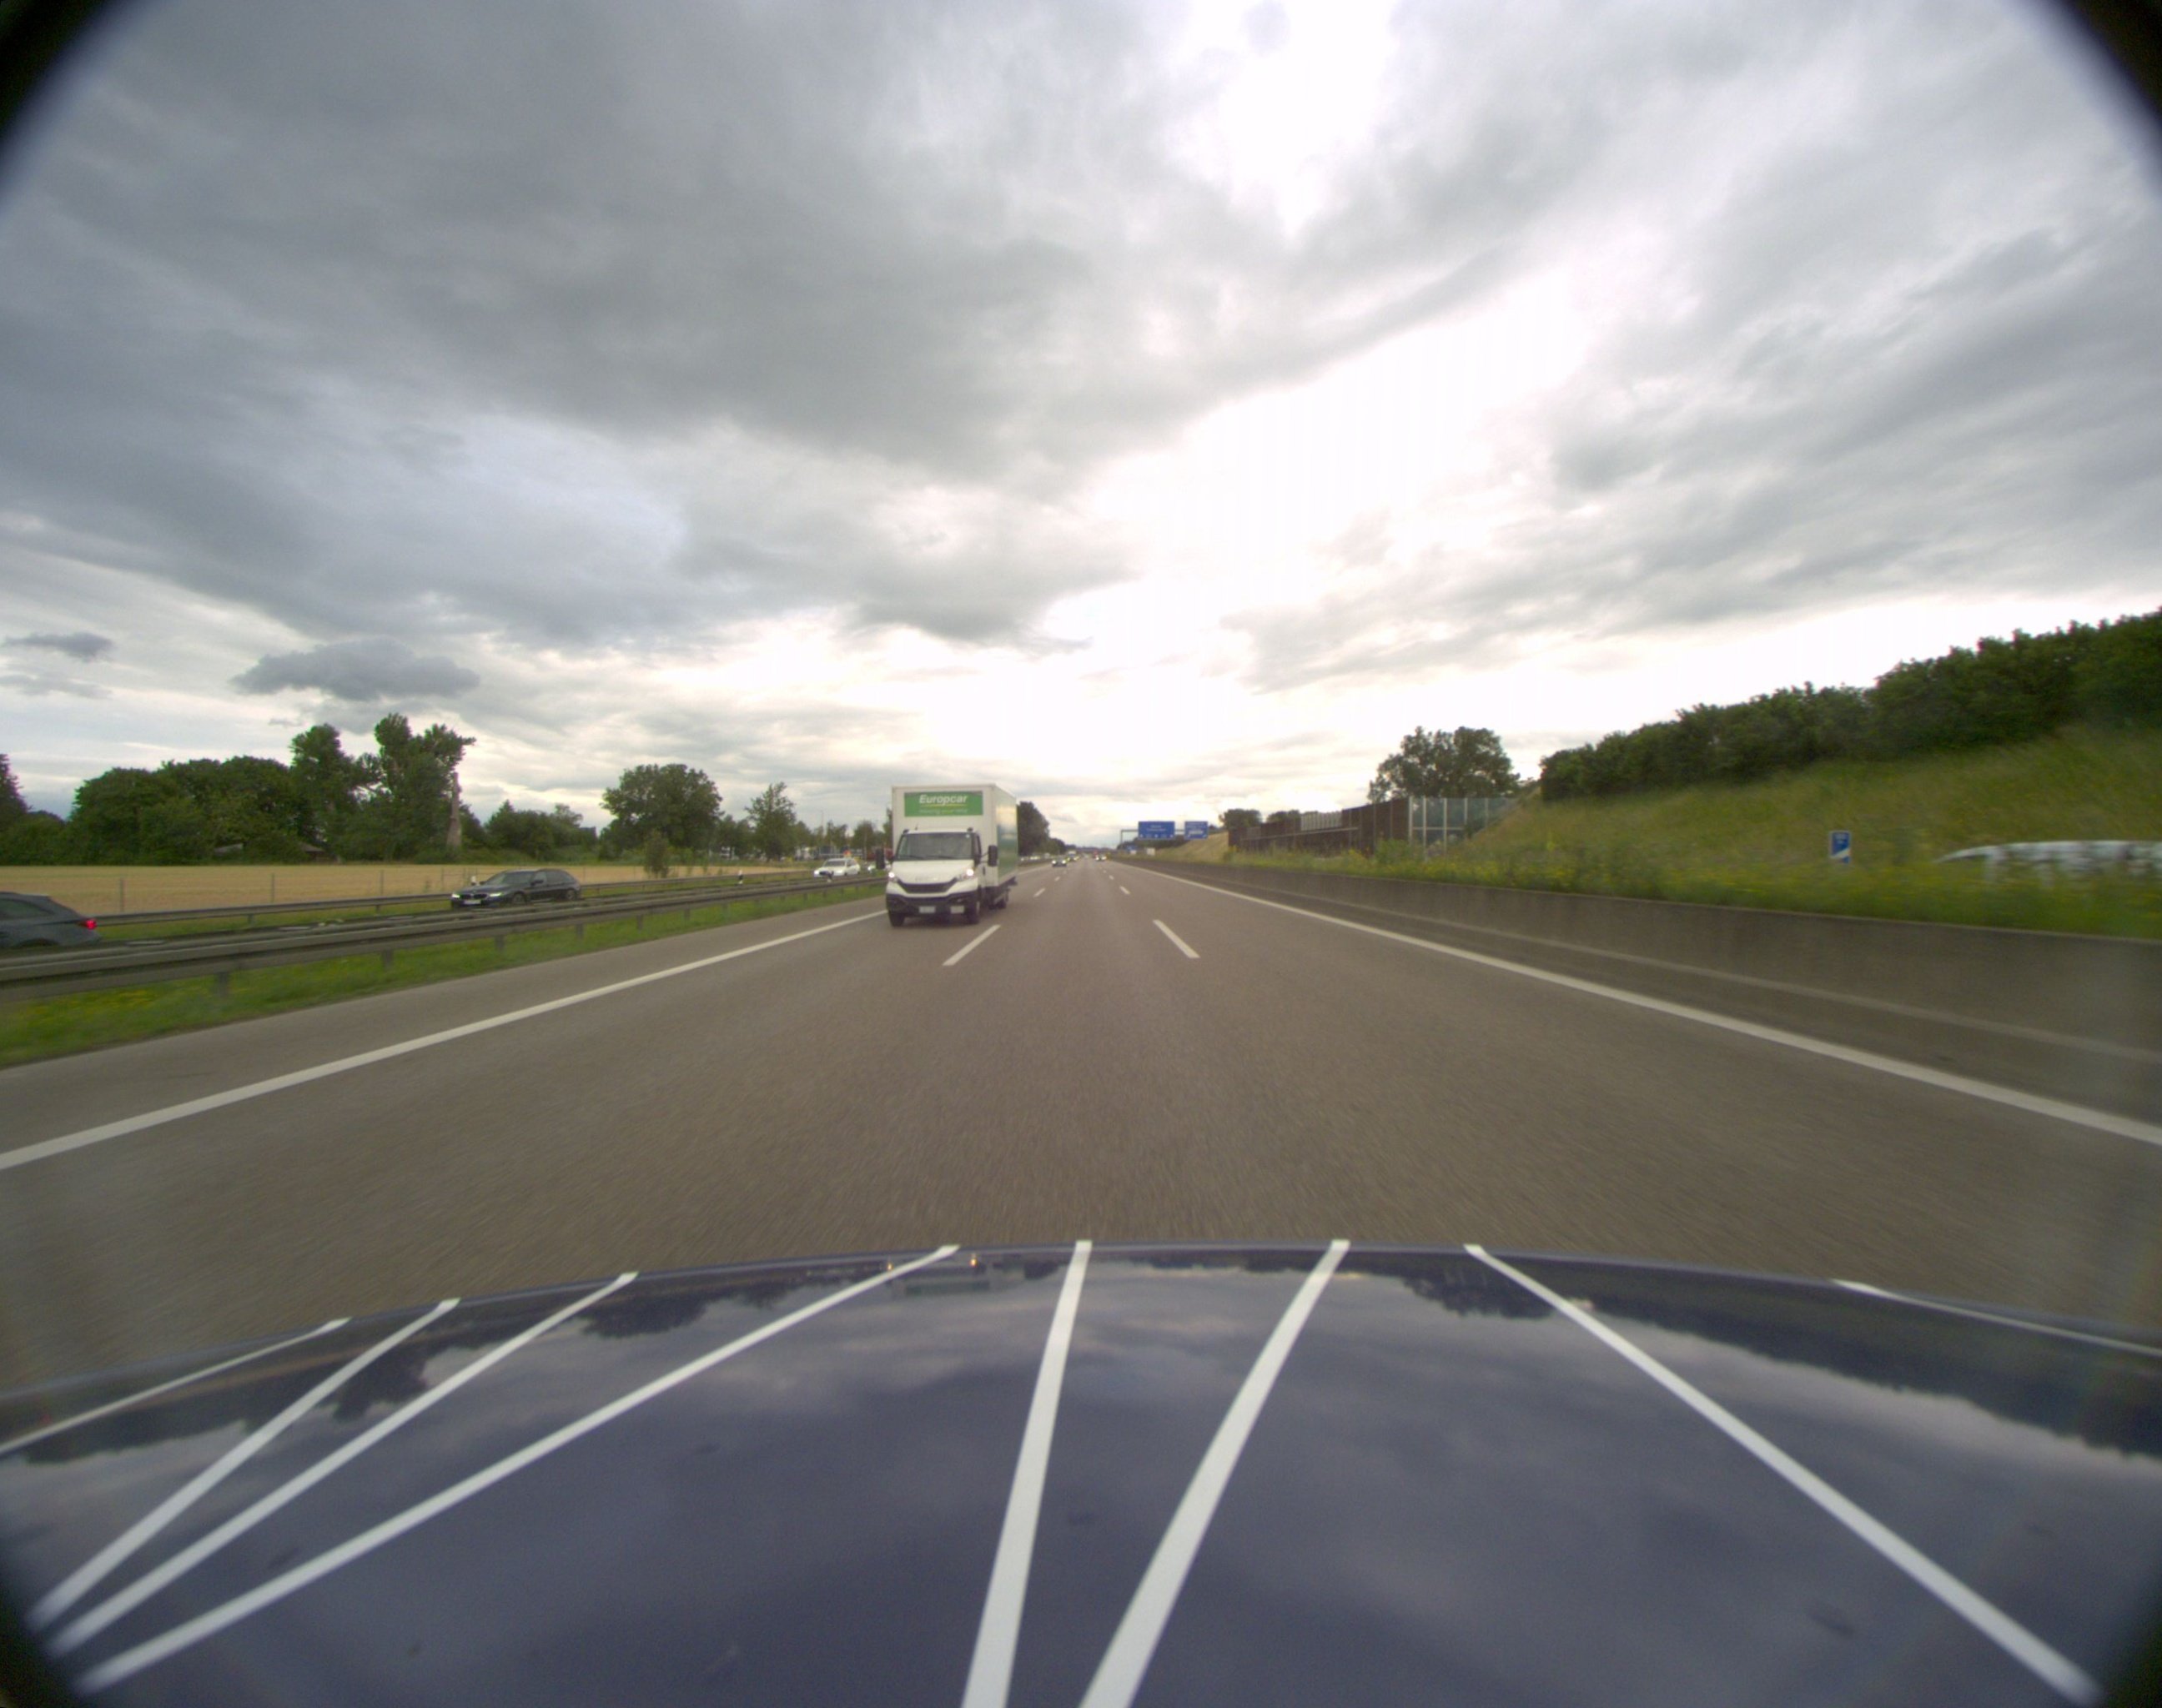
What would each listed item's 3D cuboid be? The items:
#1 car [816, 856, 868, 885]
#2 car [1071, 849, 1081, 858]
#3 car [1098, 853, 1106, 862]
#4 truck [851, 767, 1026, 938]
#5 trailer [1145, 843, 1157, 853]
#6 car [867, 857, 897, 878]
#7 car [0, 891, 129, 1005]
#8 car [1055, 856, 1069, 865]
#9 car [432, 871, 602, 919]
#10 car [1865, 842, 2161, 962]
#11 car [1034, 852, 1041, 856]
[{"bbox_3d":[-15.988,1.062,51.039,1.832,1.746,5.065,0,0,1],"label":"car"},{"bbox_3d":[-1.103,-0.108,172.506,1.998,2.002,4.000,0,0,1],"label":"car"},{"bbox_3d":[4.978,0.768,181.639,1.998,2.002,4.000,0,0,1],"label":"car"},{"bbox_3d":[-3.291,-0.049,20.389,2.777,3.484,9.061,-2,0,1],"label":"truck"},{"bbox_3d":[23.166,-1.891,251.026,2.827,3.357,13.509,-1,0,1],"label":"trailer"},{"bbox_3d":[-20.744,1.431,79.252,1.982,2.002,4.000,-2,1,1],"label":"car"},{"bbox_3d":[-15.471,1.344,9.358,1.755,1.476,4.591,-2,0,-3],"label":"car"},{"bbox_3d":[-2.552,0.818,103.330,1.781,1.180,4.000,0,0,1],"label":"car"},{"bbox_3d":[-19.977,1.380,27.352,1.833,1.308,5.713,-2,0,0],"label":"car"},{"bbox_3d":[16.505,0.689,13.137,1.603,1.746,4.119,0,0,0],"label":"car"},{"bbox_3d":[-13.888,0.005,242.023,1.828,1.236,3.878,0,0,1],"label":"car"}]
